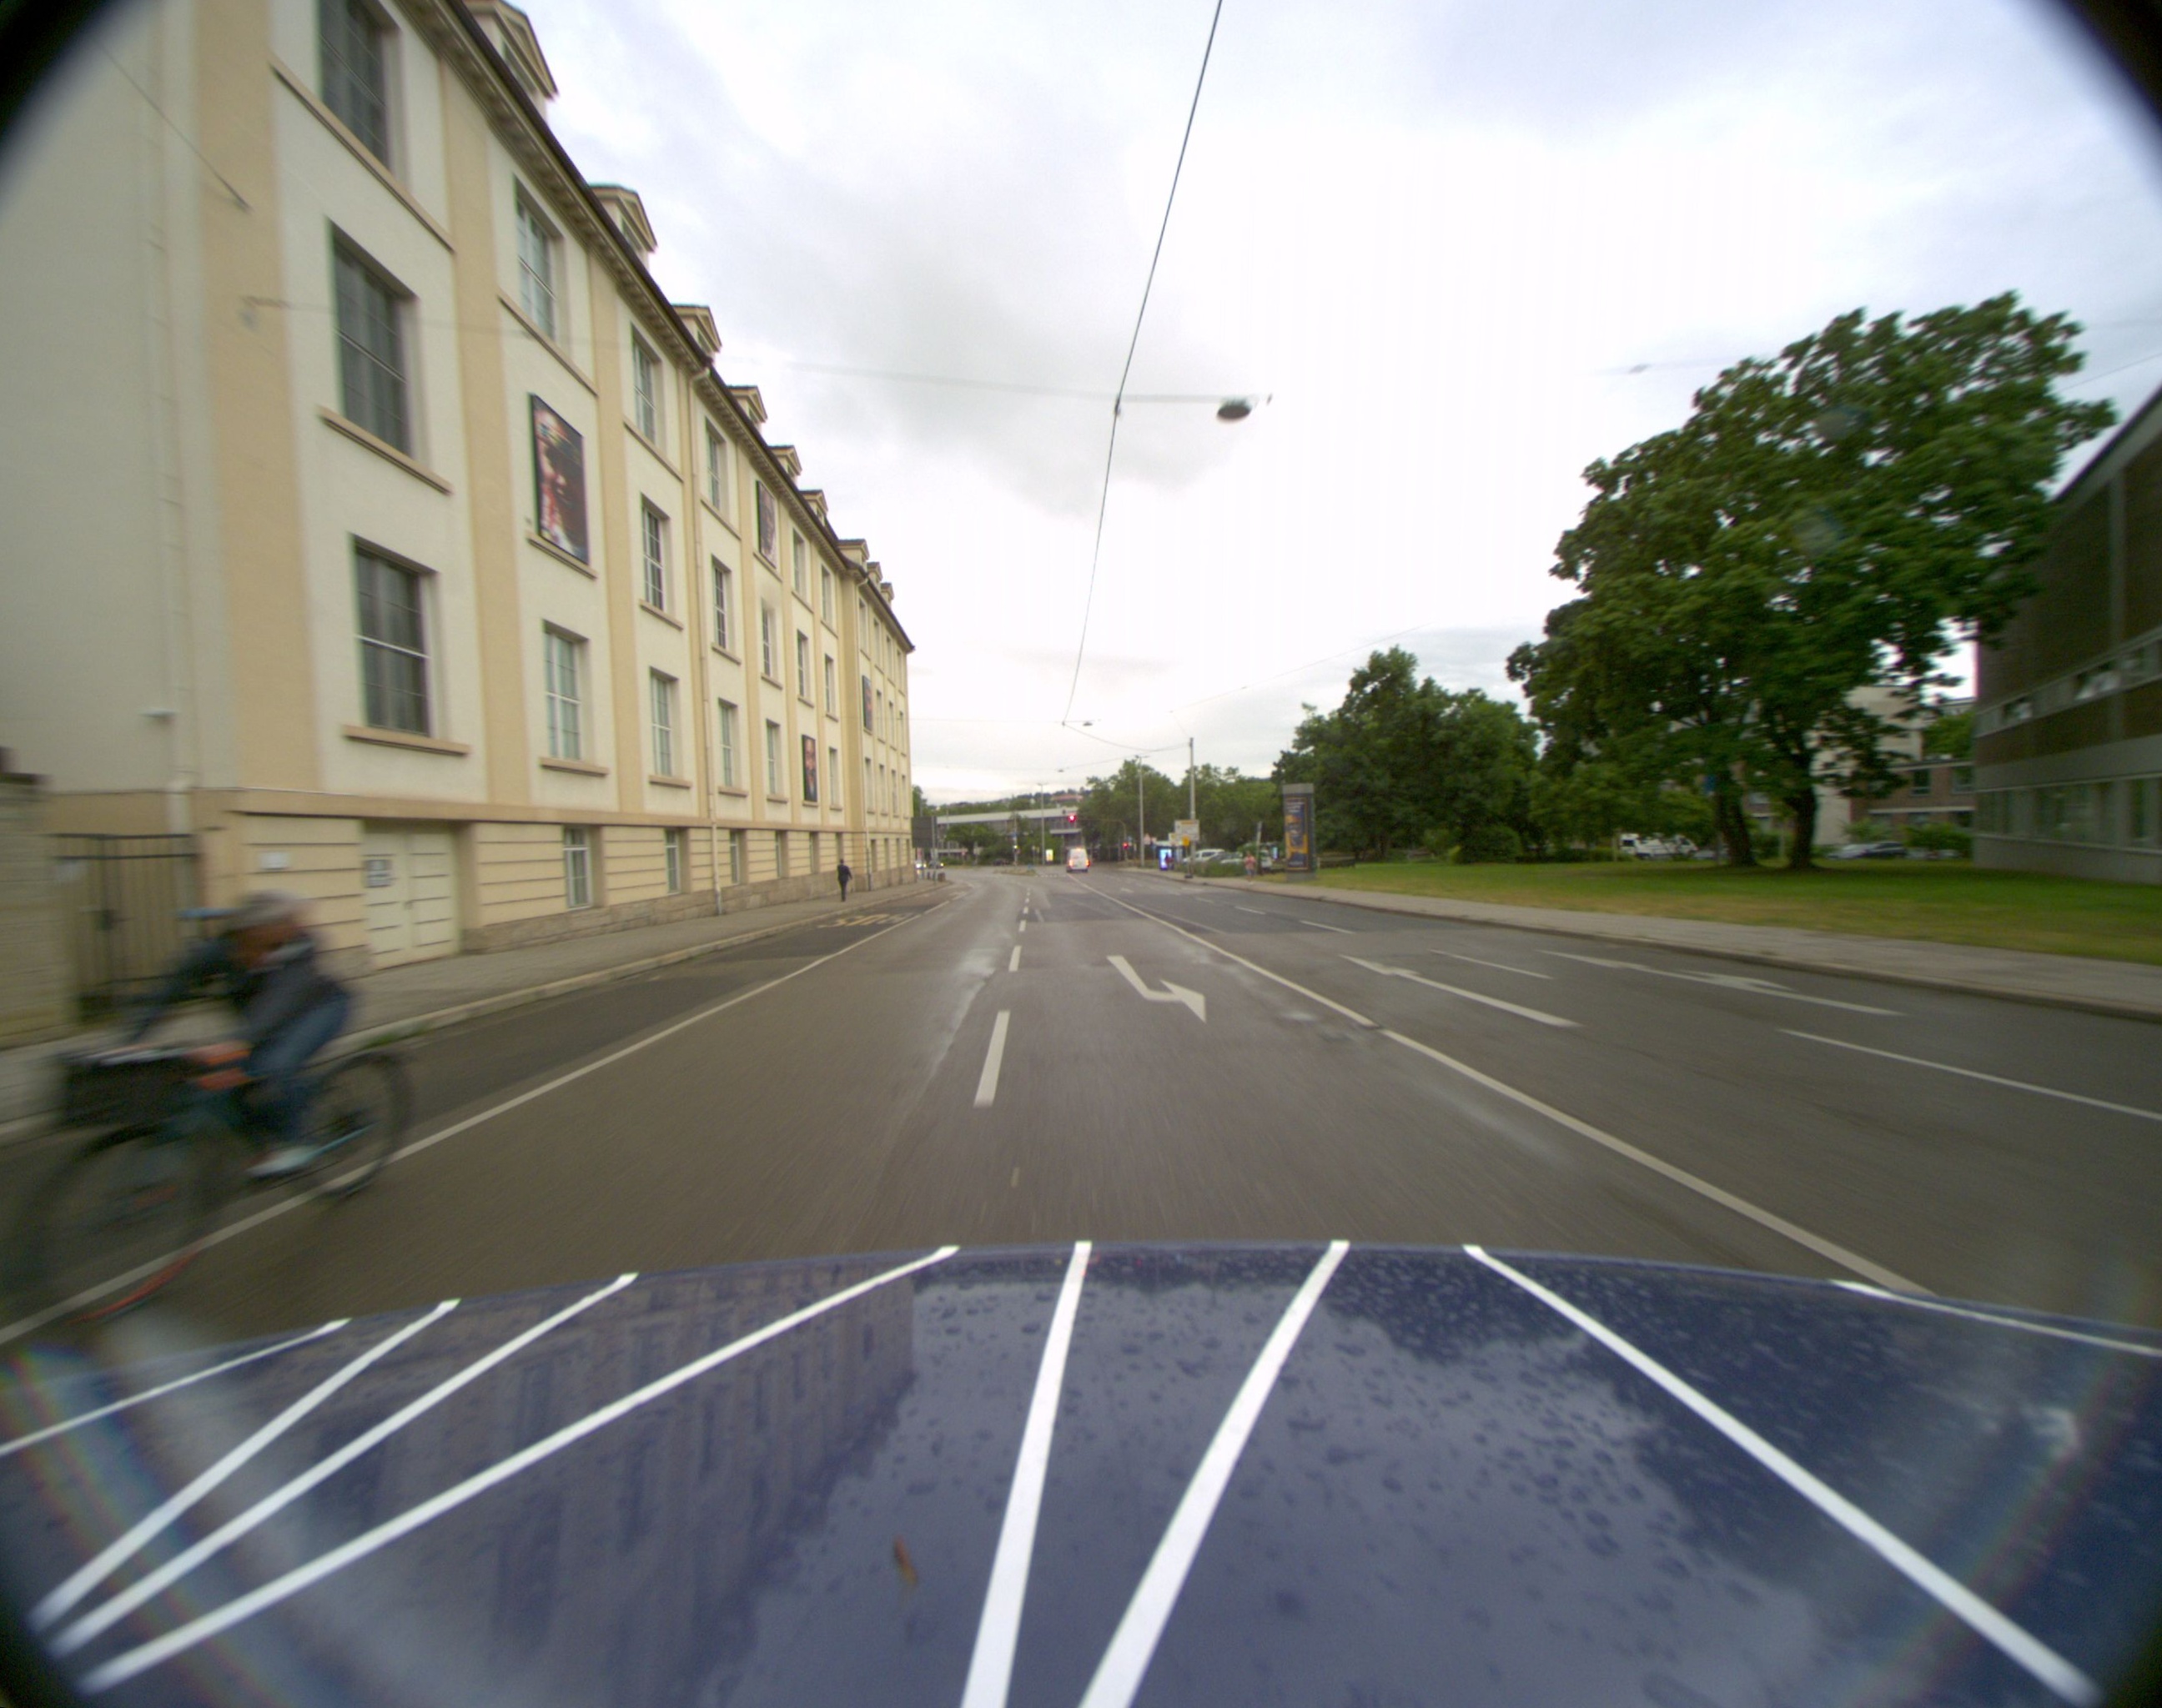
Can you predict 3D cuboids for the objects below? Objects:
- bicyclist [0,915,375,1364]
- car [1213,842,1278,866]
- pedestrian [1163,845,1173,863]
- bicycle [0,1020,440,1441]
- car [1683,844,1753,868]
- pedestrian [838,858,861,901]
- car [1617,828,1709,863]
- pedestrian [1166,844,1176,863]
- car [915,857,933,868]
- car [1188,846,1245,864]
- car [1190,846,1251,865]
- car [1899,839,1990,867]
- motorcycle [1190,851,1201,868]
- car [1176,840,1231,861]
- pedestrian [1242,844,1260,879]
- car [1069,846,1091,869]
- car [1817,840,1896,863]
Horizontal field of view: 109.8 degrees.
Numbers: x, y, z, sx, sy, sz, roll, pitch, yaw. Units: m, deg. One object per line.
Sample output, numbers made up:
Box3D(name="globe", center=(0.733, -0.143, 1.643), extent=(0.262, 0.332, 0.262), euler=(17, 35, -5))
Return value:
Box3D(name="bicyclist", center=(-3.554, 1.013, 3.044), extent=(0.485, 1.425, 0.930), euler=(-3, 1, -1))
Box3D(name="car", center=(12.016, 0.017, 55.721), extent=(1.872, 1.600, 4.515), euler=(-4, 1, -37))
Box3D(name="pedestrian", center=(8.068, 0.016, 70.676), extent=(0.686, 1.686, 0.671), euler=(-3, 1, -11))
Box3D(name="bicycle", center=(-3.598, 1.354, 3.137), extent=(0.448, 0.957, 1.690), euler=(-3, 0, -1))
Box3D(name="car", center=(51.637, 0.190, 61.602), extent=(3.998, 1.740, 2.000), euler=(-3, 0, -3))
Box3D(name="pedestrian", center=(-9.754, 1.056, 31.993), extent=(0.672, 1.787, 0.851), euler=(-1, 1, -2))
Box3D(name="car", center=(53.133, -0.789, 69.506), extent=(6.208, 2.745, 2.739), euler=(-3, 1, 0))
Box3D(name="pedestrian", center=(8.288, -0.040, 69.852), extent=(0.629, 1.686, 0.642), euler=(-3, 1, -11))
Box3D(name="car", center=(-27.247, 1.492, 131.471), extent=(2.080, 1.900, 4.554), euler=(-1, 0, -24))
Box3D(name="car", center=(11.597, 0.087, 65.036), extent=(4.370, 1.341, 1.907), euler=(-3, 1, 27))
Box3D(name="car", center=(11.420, 0.121, 62.392), extent=(4.573, 1.341, 1.907), euler=(-3, 1, 22))
Box3D(name="car", center=(54.124, -0.074, 47.639), extent=(3.999, 1.510, 1.797), euler=(-3, 1, -6))
Box3D(name="motorcycle", center=(8.649, 0.440, 57.496), extent=(0.516, 1.240, 1.267), euler=(-3, 1, -2))
Box3D(name="car", center=(11.691, -0.288, 72.619), extent=(4.711, 1.745, 2.020), euler=(-3, 1, 39))
Box3D(name="pedestrian", center=(8.412, 0.352, 37.529), extent=(0.671, 1.677, 0.913), euler=(-3, 1, 4))
Box3D(name="car", center=(-0.153, 0.369, 85.374), extent=(1.989, 2.514, 5.629), euler=(-1, 0, -5))
Box3D(name="car", center=(53.523, -0.158, 52.474), extent=(3.934, 1.367, 1.782), euler=(-3, 1, -6))
